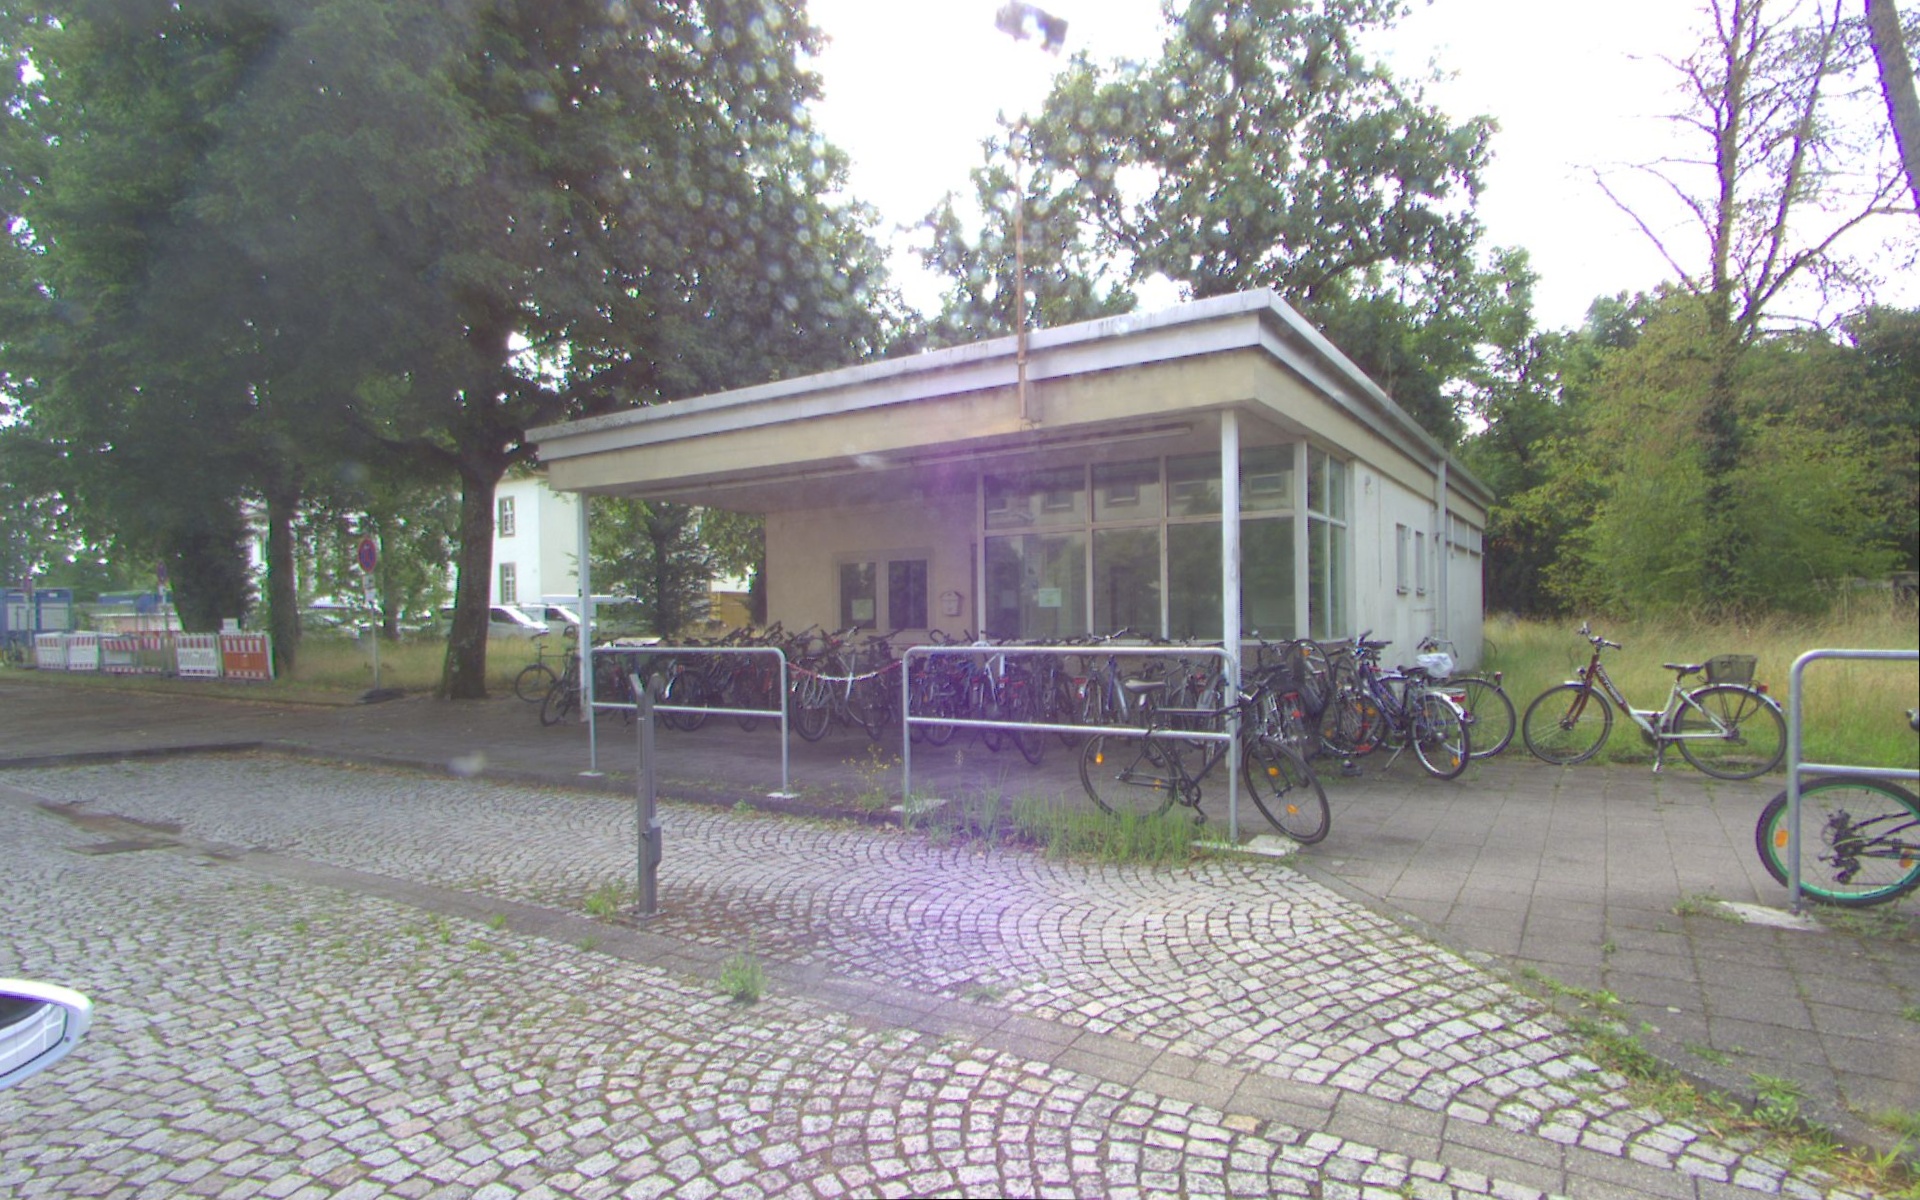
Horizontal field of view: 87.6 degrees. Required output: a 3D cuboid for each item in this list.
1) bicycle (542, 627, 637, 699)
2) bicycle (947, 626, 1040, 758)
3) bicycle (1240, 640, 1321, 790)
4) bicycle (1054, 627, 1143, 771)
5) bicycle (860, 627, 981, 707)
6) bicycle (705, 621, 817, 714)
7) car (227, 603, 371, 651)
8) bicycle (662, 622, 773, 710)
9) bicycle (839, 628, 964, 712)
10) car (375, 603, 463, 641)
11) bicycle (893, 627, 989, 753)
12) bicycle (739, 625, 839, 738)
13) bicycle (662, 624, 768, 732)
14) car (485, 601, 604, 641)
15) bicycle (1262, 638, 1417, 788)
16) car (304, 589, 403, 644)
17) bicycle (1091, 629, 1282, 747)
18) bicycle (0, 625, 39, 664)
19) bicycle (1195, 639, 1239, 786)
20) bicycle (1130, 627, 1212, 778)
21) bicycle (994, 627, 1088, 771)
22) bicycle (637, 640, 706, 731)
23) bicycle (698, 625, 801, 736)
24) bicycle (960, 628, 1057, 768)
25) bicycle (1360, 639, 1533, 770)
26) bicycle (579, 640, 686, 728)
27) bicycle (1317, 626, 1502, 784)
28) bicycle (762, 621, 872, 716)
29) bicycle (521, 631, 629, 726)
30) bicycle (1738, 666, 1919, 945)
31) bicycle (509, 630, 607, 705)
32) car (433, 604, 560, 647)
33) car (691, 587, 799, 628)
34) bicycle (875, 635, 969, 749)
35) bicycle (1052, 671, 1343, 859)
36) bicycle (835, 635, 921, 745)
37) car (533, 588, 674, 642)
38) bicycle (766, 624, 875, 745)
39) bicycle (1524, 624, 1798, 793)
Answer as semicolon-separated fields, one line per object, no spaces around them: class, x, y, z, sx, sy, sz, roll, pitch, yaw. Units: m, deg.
bicycle;-6.162;1.023;16.641;1.611;1.132;0.595;-1;2;32
bicycle;0.368;0.882;10.138;0.320;1.156;1.612;0;1;25
bicycle;2.528;0.864;7.992;0.332;1.059;1.406;0;-1;6
bicycle;1.323;0.869;9.358;0.350;1.156;1.612;0;1;25
bicycle;-0.568;0.944;14.310;1.652;1.090;0.479;-1;2;22
bicycle;-2.839;0.936;14.454;0.599;1.181;1.738;0;1;28
car;-28.347;1.116;43.086;1.880;1.946;4.847;1;0;33
bicycle;-3.620;0.961;15.118;0.599;1.181;1.738;0;1;28
bicycle;-0.813;0.946;13.791;1.652;1.090;0.479;-1;2;22
car;-27.717;1.148;51.267;4.809;1.848;1.989;-1;-2;35
bicycle;-0.168;0.898;10.528;0.320;1.156;1.590;0;1;25
bicycle;-2.024;0.937;12.052;0.412;1.206;1.631;-1;1;20
bicycle;-3.040;0.940;12.593;0.465;1.206;1.631;-1;1;19
car;-19.521;1.001;47.125;4.780;1.848;2.001;0;-2;6
bicycle;3.059;0.863;8.239;0.446;1.059;1.750;0;-1;-6
car;-29.734;0.861;49.040;5.830;2.588;1.988;-1;-2;35
bicycle;2.257;0.846;10.075;1.806;1.090;0.489;-1;2;32
bicycle;-30.012;1.401;31.869;1.879;1.185;0.640;-1;0;35
bicycle;2.076;0.871;8.140;0.282;1.076;1.153;0;0;12
bicycle;1.906;0.852;8.927;0.350;1.156;1.612;0;1;25
bicycle;0.787;0.869;9.317;0.320;1.156;1.612;0;1;25
bicycle;-3.650;1.056;12.761;0.316;0.989;1.634;-1;1;3
bicycle;-2.558;0.948;12.336;0.412;1.206;1.631;-1;1;20
bicycle;0.498;0.879;9.570;0.320;1.156;1.612;0;1;25
bicycle;4.224;0.872;8.780;0.400;1.023;1.348;-1;0;-34
bicycle;-4.286;1.070;13.242;0.744;0.989;1.745;-1;1;3
bicycle;3.639;0.799;8.271;0.465;1.146;1.739;0;-1;-11
bicycle;-1.982;0.921;14.116;0.599;1.181;1.738;0;1;28
bicycle;-5.149;1.018;13.496;0.332;1.123;1.677;-1;1;19
bicycle;4.259;0.847;4.169;1.543;1.076;0.688;-1;0;33
bicycle;-6.470;1.057;16.095;1.611;1.132;0.595;-1;2;32
car;-20.643;1.164;44.685;4.780;1.848;2.001;0;-2;6
car;-11.806;0.481;55.433;2.182;2.122;6.129;-1;-2;33
bicycle;-0.385;0.958;10.909;0.320;1.064;1.590;0;1;25
bicycle;1.412;0.942;6.097;1.632;0.965;0.533;-2;0;33
bicycle;-0.883;0.961;11.179;0.328;1.064;1.631;-1;1;18
car;-17.672;0.784;49.837;6.297;2.611;2.001;0;-1;3
bicycle;-1.542;0.909;11.329;0.490;1.206;1.631;-1;1;20
bicycle;5.323;0.767;7.673;1.660;1.153;0.644;-1;0;39
